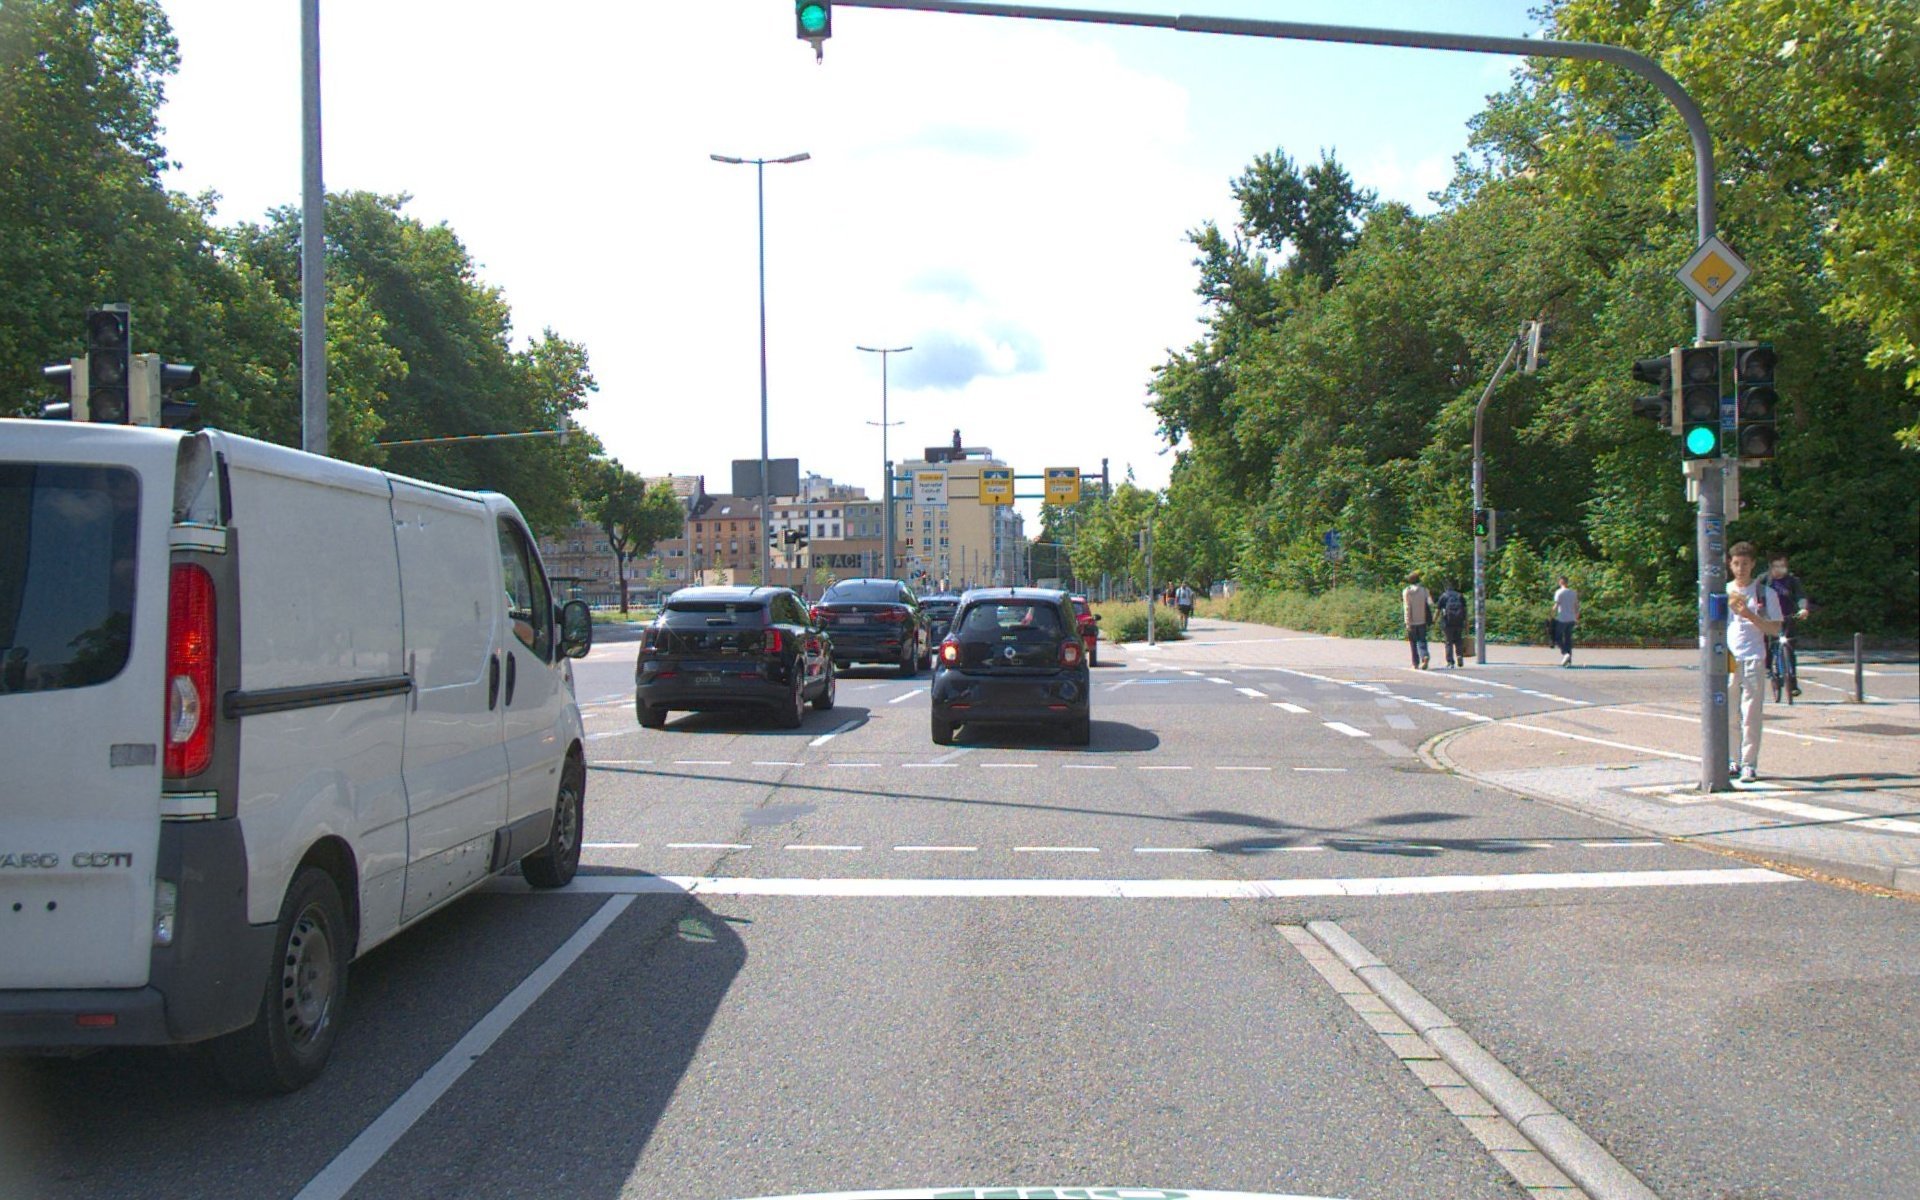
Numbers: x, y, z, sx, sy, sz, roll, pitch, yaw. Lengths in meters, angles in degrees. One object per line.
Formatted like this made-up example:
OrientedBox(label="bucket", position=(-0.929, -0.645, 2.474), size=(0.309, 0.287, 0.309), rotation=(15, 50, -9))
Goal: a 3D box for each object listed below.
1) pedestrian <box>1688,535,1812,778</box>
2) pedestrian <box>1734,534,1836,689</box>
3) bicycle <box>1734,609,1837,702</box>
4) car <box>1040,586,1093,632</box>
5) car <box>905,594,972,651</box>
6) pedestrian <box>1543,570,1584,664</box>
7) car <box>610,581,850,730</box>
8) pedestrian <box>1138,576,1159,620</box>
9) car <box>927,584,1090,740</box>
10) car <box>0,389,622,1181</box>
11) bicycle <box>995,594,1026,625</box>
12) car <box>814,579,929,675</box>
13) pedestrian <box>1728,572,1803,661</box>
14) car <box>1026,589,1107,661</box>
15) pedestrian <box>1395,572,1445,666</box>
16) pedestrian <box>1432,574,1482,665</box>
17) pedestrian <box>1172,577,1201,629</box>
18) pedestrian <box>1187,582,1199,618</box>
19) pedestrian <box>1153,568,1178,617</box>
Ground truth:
OrientedBox(label="pedestrian", position=(6.189, 0.431, 12.961), size=(0.590, 1.832, 0.603), rotation=(-3, 0, -38))
OrientedBox(label="pedestrian", position=(10.428, 0.144, 20.894), size=(0.839, 1.851, 1.171), rotation=(-5, -3, 36))
OrientedBox(label="bicycle", position=(10.477, 0.693, 20.956), size=(0.801, 1.091, 1.883), rotation=(-5, -3, 36))
OrientedBox(label="car", position=(3.452, 0.269, 54.120), size=(1.578, 1.436, 3.518), rotation=(1, 0, 1))
OrientedBox(label="car", position=(-0.524, 0.543, 42.356), size=(1.578, 1.348, 3.518), rotation=(-1, 0, 1))
OrientedBox(label="pedestrian", position=(12.138, 0.333, 33.266), size=(0.656, 1.852, 0.704), rotation=(0, 1, 9))
OrientedBox(label="car", position=(-2.603, 0.558, 19.931), size=(1.975, 1.556, 4.889), rotation=(0, 1, 3))
OrientedBox(label="pedestrian", position=(8.563, -0.088, 75.089), size=(0.821, 2.003, 0.861), rotation=(-1, 0, -1))
OrientedBox(label="car", position=(0.515, 0.598, 17.904), size=(1.578, 1.511, 3.518), rotation=(0, 0, 1))
OrientedBox(label="car", position=(-2.880, 0.452, 6.744), size=(1.965, 1.989, 5.193), rotation=(0, 0, 0))
OrientedBox(label="bicycle", position=(3.412, 0.651, 112.395), size=(1.953, 2.049, 3.999), rotation=(1, 0, -1))
OrientedBox(label="car", position=(-1.560, 0.438, 30.514), size=(1.789, 1.629, 4.394), rotation=(0, 1, 1))
OrientedBox(label="pedestrian", position=(15.615, 0.311, 32.087), size=(0.840, 1.654, 1.017), rotation=(-2, 2, -13))
OrientedBox(label="car", position=(2.240, 0.499, 35.432), size=(1.578, 1.436, 3.518), rotation=(1, 0, 1))
OrientedBox(label="pedestrian", position=(8.650, 0.342, 31.170), size=(0.778, 1.734, 1.183), rotation=(0, 1, 9))
OrientedBox(label="pedestrian", position=(9.656, 0.363, 32.171), size=(0.778, 1.734, 1.183), rotation=(0, 1, 9))
OrientedBox(label="pedestrian", position=(7.741, 0.095, 56.629), size=(0.833, 1.730, 0.931), rotation=(-2, 0, 1))
OrientedBox(label="pedestrian", position=(12.445, 0.002, 88.352), size=(0.491, 1.923, 0.560), rotation=(1, 0, -1))
OrientedBox(label="pedestrian", position=(8.202, -0.298, 65.969), size=(0.821, 1.901, 1.019), rotation=(-1, 0, -1))
